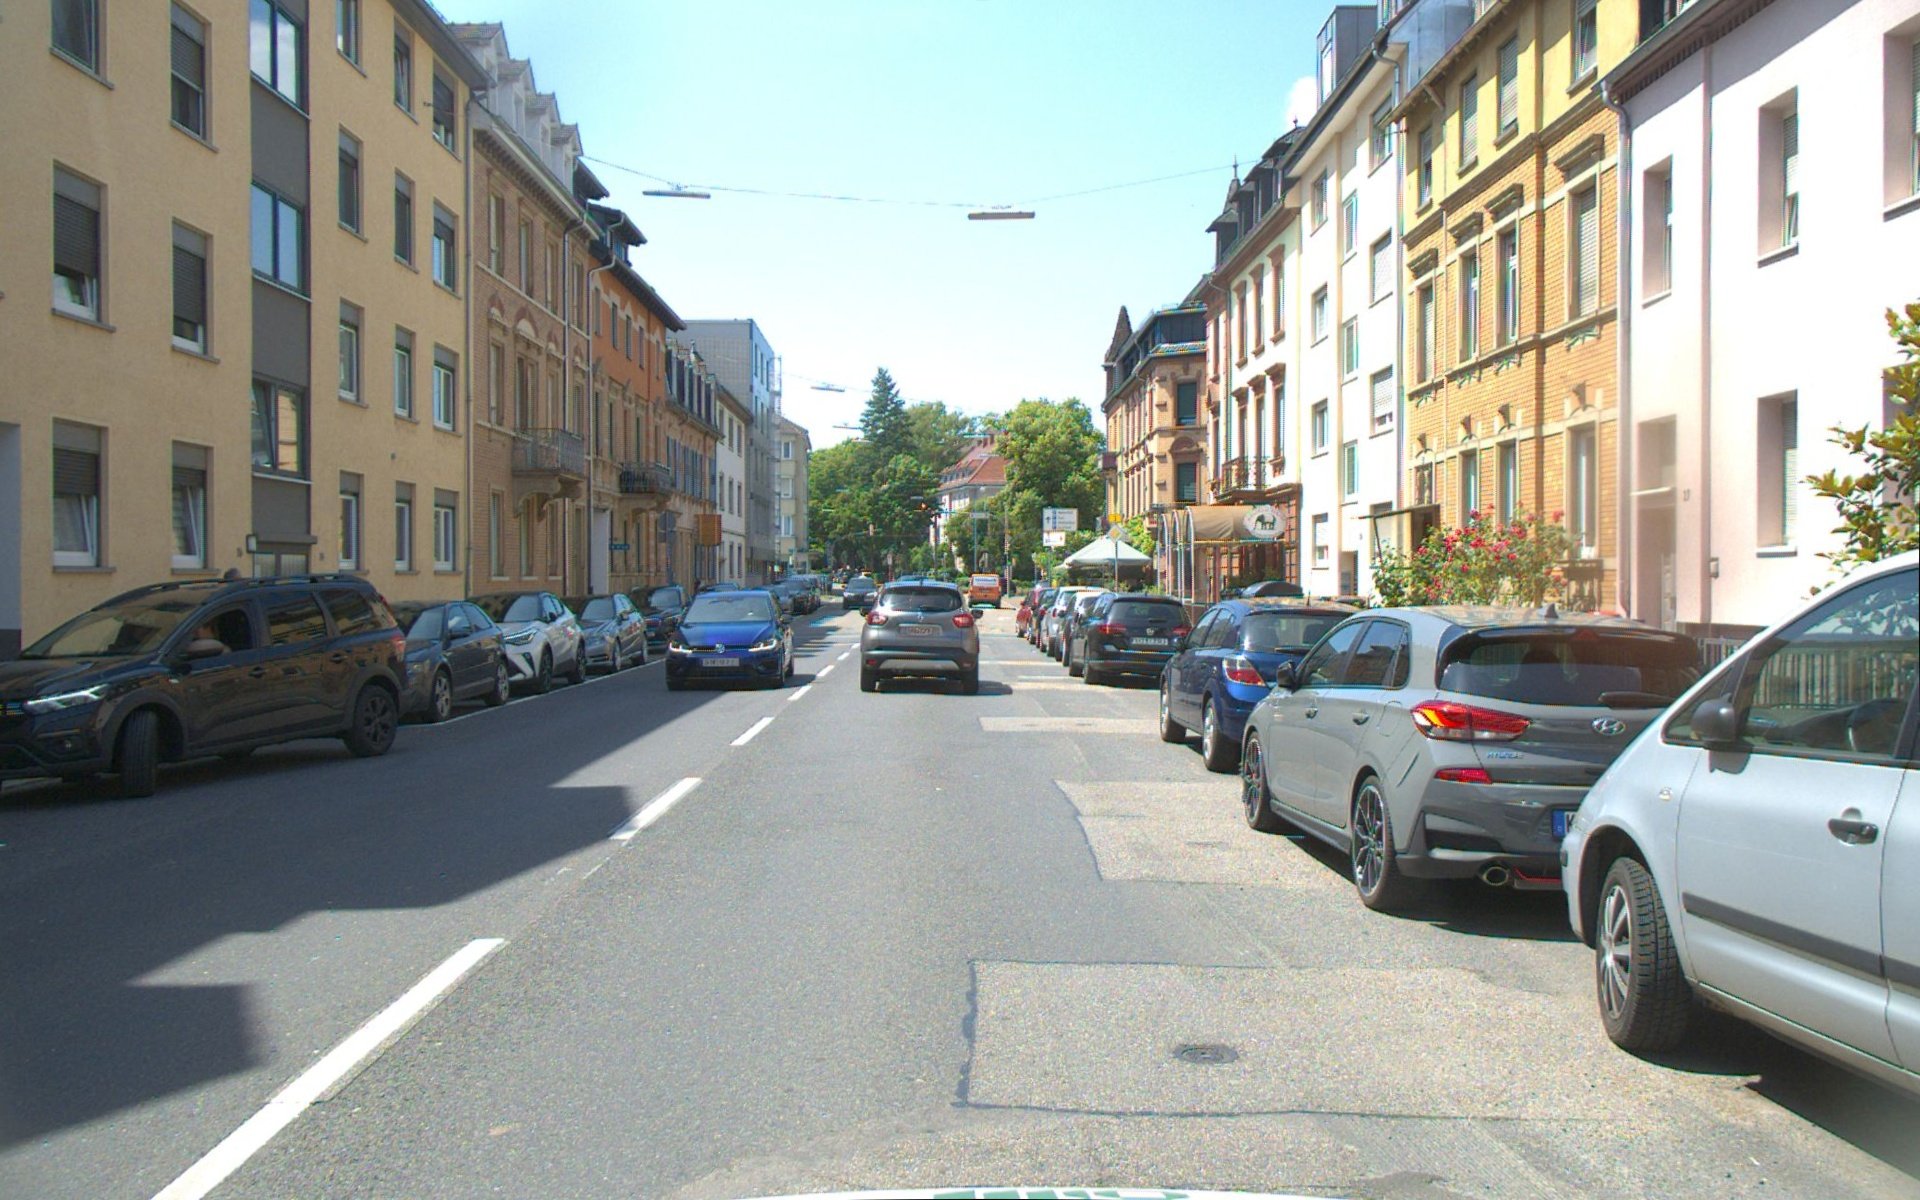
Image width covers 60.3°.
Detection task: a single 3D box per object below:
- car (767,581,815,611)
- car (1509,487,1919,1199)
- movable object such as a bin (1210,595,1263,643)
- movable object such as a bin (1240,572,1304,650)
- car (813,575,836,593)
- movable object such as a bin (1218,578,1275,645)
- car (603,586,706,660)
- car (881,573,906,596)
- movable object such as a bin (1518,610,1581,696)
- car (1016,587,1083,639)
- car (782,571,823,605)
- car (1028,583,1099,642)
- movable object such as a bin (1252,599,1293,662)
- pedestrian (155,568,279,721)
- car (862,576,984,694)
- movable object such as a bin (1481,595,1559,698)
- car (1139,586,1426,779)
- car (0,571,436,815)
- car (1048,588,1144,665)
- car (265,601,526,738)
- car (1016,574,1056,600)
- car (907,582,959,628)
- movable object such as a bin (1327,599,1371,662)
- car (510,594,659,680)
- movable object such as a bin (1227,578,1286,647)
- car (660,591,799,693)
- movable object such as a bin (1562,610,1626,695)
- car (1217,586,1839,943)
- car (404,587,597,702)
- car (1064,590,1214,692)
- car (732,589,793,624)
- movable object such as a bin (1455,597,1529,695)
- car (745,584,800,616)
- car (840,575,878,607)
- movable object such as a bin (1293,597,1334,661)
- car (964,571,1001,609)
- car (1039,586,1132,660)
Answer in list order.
[{"bbox_3d":[-8.028,-0.214,79.037,1.866,1.314,4.302,-1,1,0],"label":"car"},{"bbox_3d":[3.248,0.625,4.224,1.824,1.778,4.614,1,1,-5],"label":"car"},{"bbox_3d":[6.237,0.428,37.326,1.021,1.040,0.991,1,1,1],"label":"movable object such as a bin"},{"bbox_3d":[6.313,0.204,33.561,1.021,1.544,1.446,1,1,1],"label":"movable object such as a bin"},{"bbox_3d":[-12.592,-1.473,153.931,1.754,1.654,3.743,-1,1,1],"label":"car"},{"bbox_3d":[6.260,0.241,36.189,1.021,1.426,1.254,1,1,1],"label":"movable object such as a bin"},{"bbox_3d":[-7.562,0.536,41.302,1.867,1.648,4.300,-3,1,-2],"label":"car"},{"bbox_3d":[-5.038,-1.203,125.373,1.755,1.654,3.740,-1,1,-5],"label":"car"},{"bbox_3d":[7.656,0.681,21.495,0.548,1.068,0.667,-1,0,-3],"label":"movable object such as a bin"},{"bbox_3d":[2.612,0.364,48.949,1.580,1.468,3.434,0,1,-4],"label":"car"},{"bbox_3d":[-8.815,-0.699,93.034,1.866,1.853,4.302,-1,1,0],"label":"car"},{"bbox_3d":[2.672,0.293,43.241,1.578,1.487,3.504,0,1,-1],"label":"car"},{"bbox_3d":[6.081,0.585,32.227,0.625,1.197,0.911,1,1,1],"label":"movable object such as a bin"},{"bbox_3d":[-8.968,0.515,20.022,0.946,1.780,1.155,-1,1,-1],"label":"pedestrian"},{"bbox_3d":[-0.574,0.462,25.143,1.709,1.644,3.999,0,1,-2],"label":"car"},{"bbox_3d":[6.228,0.508,18.414,0.639,1.102,0.684,-1,1,2],"label":"movable object such as a bin"},{"bbox_3d":[2.874,0.654,15.757,1.661,1.513,4.616,1,1,-2],"label":"car"},{"bbox_3d":[-6.605,0.654,14.043,1.864,1.666,4.562,-3,1,15],"label":"car"},{"bbox_3d":[2.778,0.503,34.462,1.626,1.466,4.000,1,1,-1],"label":"car"},{"bbox_3d":[-6.913,0.790,20.734,1.866,1.403,4.060,-3,1,-1],"label":"car"},{"bbox_3d":[4.772,-0.856,103.660,1.857,1.534,3.946,-1,1,12],"label":"car"},{"bbox_3d":[-1.084,0.175,63.589,1.776,1.649,4.438,-2,1,-3],"label":"car"},{"bbox_3d":[7.574,0.589,32.231,0.654,1.197,0.852,1,1,1],"label":"movable object such as a bin"},{"bbox_3d":[-7.208,0.665,32.215,1.866,1.425,4.753,-3,1,-2],"label":"car"},{"bbox_3d":[6.247,0.246,34.932,1.021,1.426,1.254,1,1,1],"label":"movable object such as a bin"},{"bbox_3d":[-3.530,0.595,25.962,1.780,1.413,3.998,-1,1,-3],"label":"car"},{"bbox_3d":[8.242,0.671,21.522,0.548,1.068,0.667,-1,0,-3],"label":"movable object such as a bin"},{"bbox_3d":[2.827,0.707,9.380,1.823,1.513,4.307,1,1,-3],"label":"car"},{"bbox_3d":[-7.054,0.617,25.852,1.866,1.536,4.301,-3,1,-2],"label":"car"},{"bbox_3d":[2.879,0.615,27.586,1.823,1.490,4.616,1,1,-2],"label":"car"},{"bbox_3d":[-7.927,0.250,66.762,1.865,1.314,4.303,-1,1,1],"label":"car"},{"bbox_3d":[6.170,0.522,19.216,0.639,1.102,0.684,-1,1,2],"label":"movable object such as a bin"},{"bbox_3d":[-8.131,-0.025,72.165,1.865,1.314,4.303,-1,1,0],"label":"car"},{"bbox_3d":[-5.367,-0.440,88.240,1.900,1.654,3.998,0,0,-3],"label":"car"},{"bbox_3d":[6.875,0.560,32.223,0.625,1.207,0.852,1,1,1],"label":"movable object such as a bin"},{"bbox_3d":[1.268,-0.596,95.055,1.953,2.048,4.465,-1,1,-1],"label":"car"},{"bbox_3d":[2.868,0.484,38.616,1.822,1.580,4.000,1,1,-1],"label":"car"}]
